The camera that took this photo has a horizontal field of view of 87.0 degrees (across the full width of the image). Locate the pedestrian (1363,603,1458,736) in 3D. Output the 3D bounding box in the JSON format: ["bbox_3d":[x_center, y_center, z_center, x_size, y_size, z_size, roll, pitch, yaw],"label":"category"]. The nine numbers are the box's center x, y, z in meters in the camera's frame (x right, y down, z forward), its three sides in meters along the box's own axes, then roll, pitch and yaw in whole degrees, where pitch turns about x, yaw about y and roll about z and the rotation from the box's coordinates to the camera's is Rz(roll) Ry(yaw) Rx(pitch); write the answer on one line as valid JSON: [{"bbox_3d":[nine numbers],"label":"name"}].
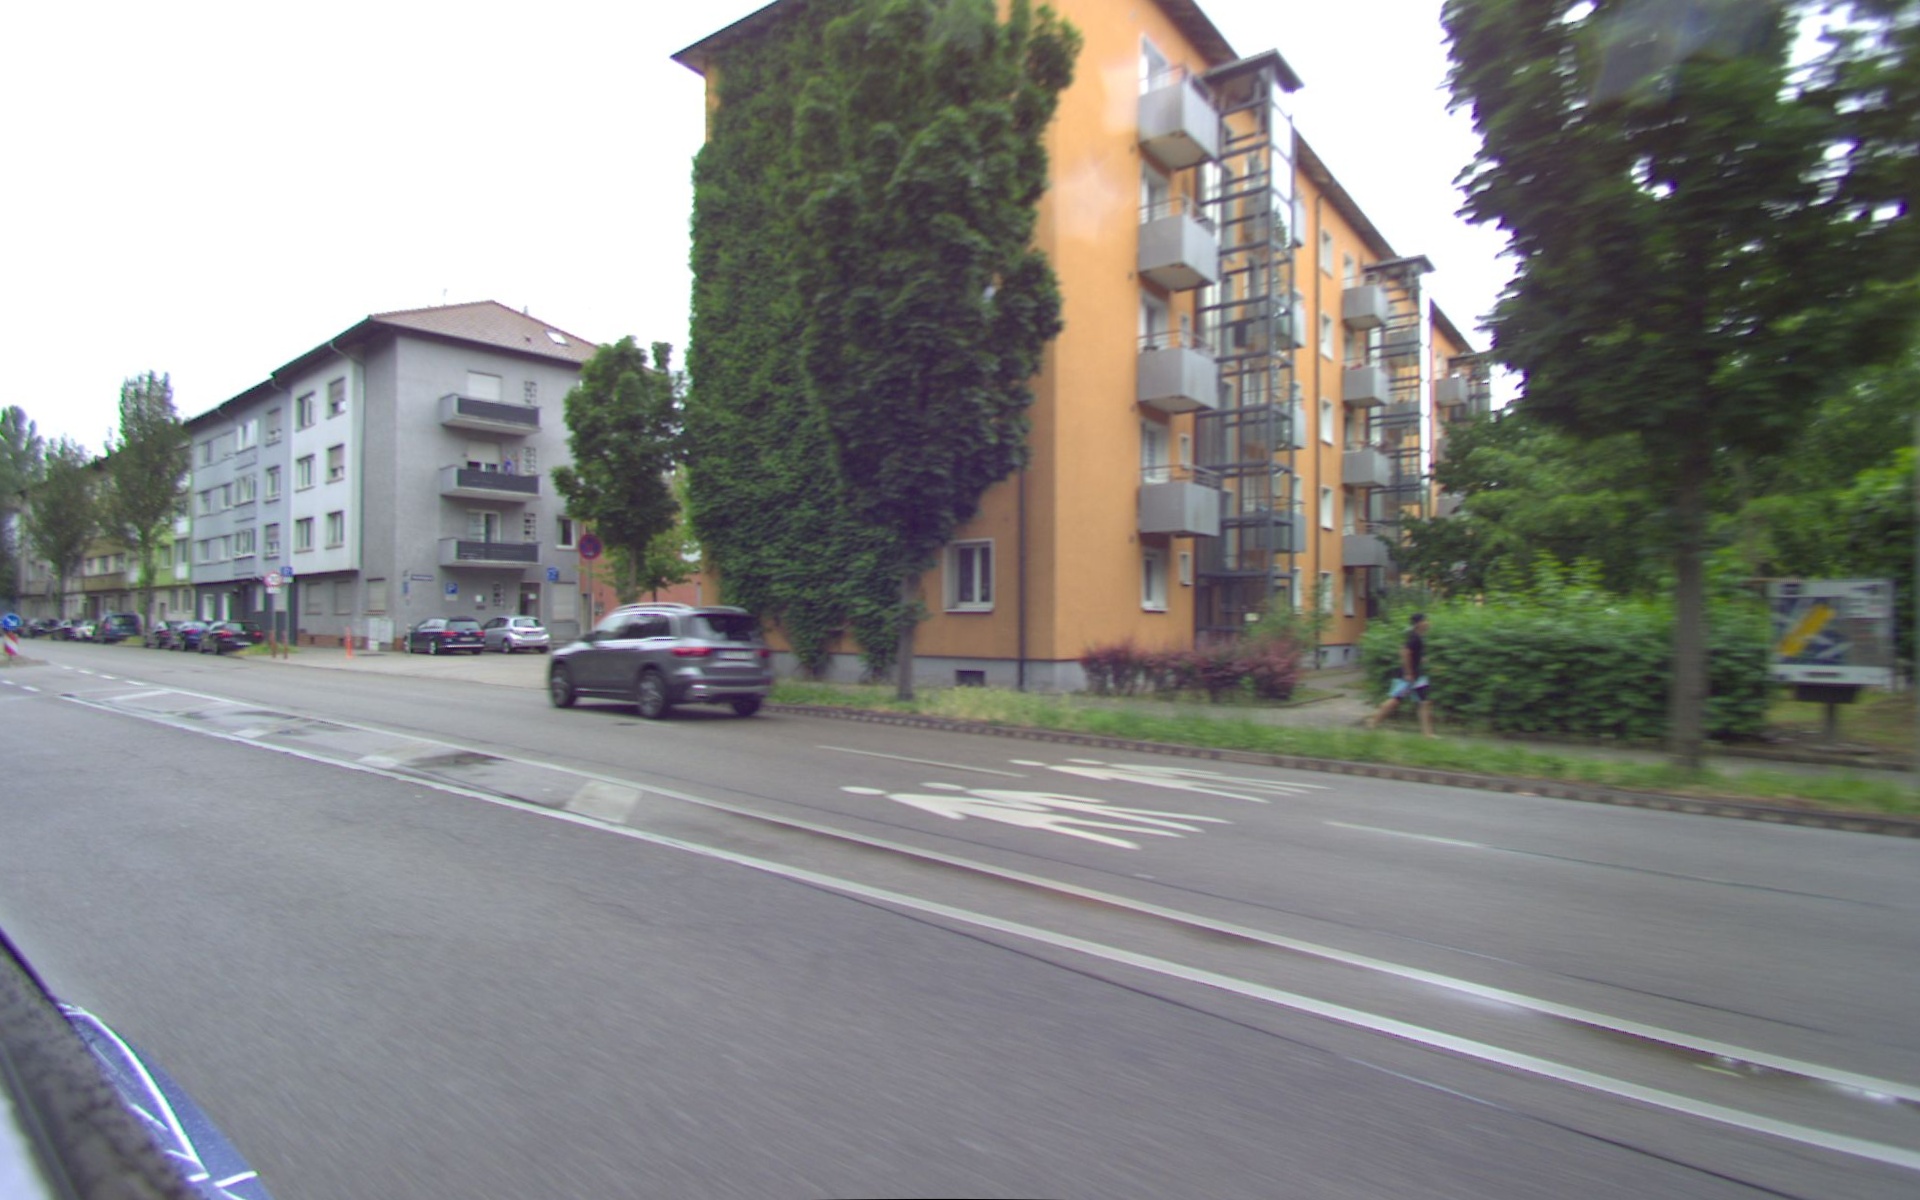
[{"bbox_3d":[5.212,0.782,11.727,0.836,1.460,0.664,-1,-2,43],"label":"pedestrian"}]

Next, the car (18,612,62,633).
[{"bbox_3d":[-67.232,1.636,73.956,3.996,1.524,1.844,-1,-2,40],"label":"car"}]

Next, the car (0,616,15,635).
[{"bbox_3d":[-79.327,2.088,83.226,4.169,1.612,1.844,-1,-2,40],"label":"car"}]

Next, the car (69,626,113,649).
[{"bbox_3d":[-54.179,2.345,63.099,3.445,1.387,1.527,-2,-3,40],"label":"car"}]

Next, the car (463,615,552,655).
[{"bbox_3d":[-18.662,1.423,41.628,4.227,1.537,1.711,0,-2,41],"label":"car"}]

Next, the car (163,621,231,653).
[{"bbox_3d":[-35.562,1.692,47.119,3.924,1.394,1.704,-1,-2,41],"label":"car"}]

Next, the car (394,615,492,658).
[{"bbox_3d":[-20.268,1.370,39.570,4.633,1.497,1.832,0,1,41],"label":"car"}]

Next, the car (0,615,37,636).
[{"bbox_3d":[-74.218,2.013,79.536,4.169,1.579,1.844,-1,-2,40],"label":"car"}]

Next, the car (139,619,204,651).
[{"bbox_3d":[-39.727,1.766,50.969,4.312,1.492,1.704,-1,-4,41],"label":"car"}]

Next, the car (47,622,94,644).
[{"bbox_3d":[-58.069,2.137,66.082,4.248,1.356,1.528,0,-3,39],"label":"car"}]

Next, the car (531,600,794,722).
[{"bbox_3d":[-4.757,0.894,15.835,4.502,1.643,1.901,-1,-3,43],"label":"car"}]

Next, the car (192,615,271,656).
[{"bbox_3d":[-31.277,1.491,43.405,4.246,1.556,1.828,0,1,42],"label":"car"}]

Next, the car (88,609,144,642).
[{"bbox_3d":[-49.879,1.498,59.782,4.312,1.884,1.880,0,-1,41],"label":"car"}]
